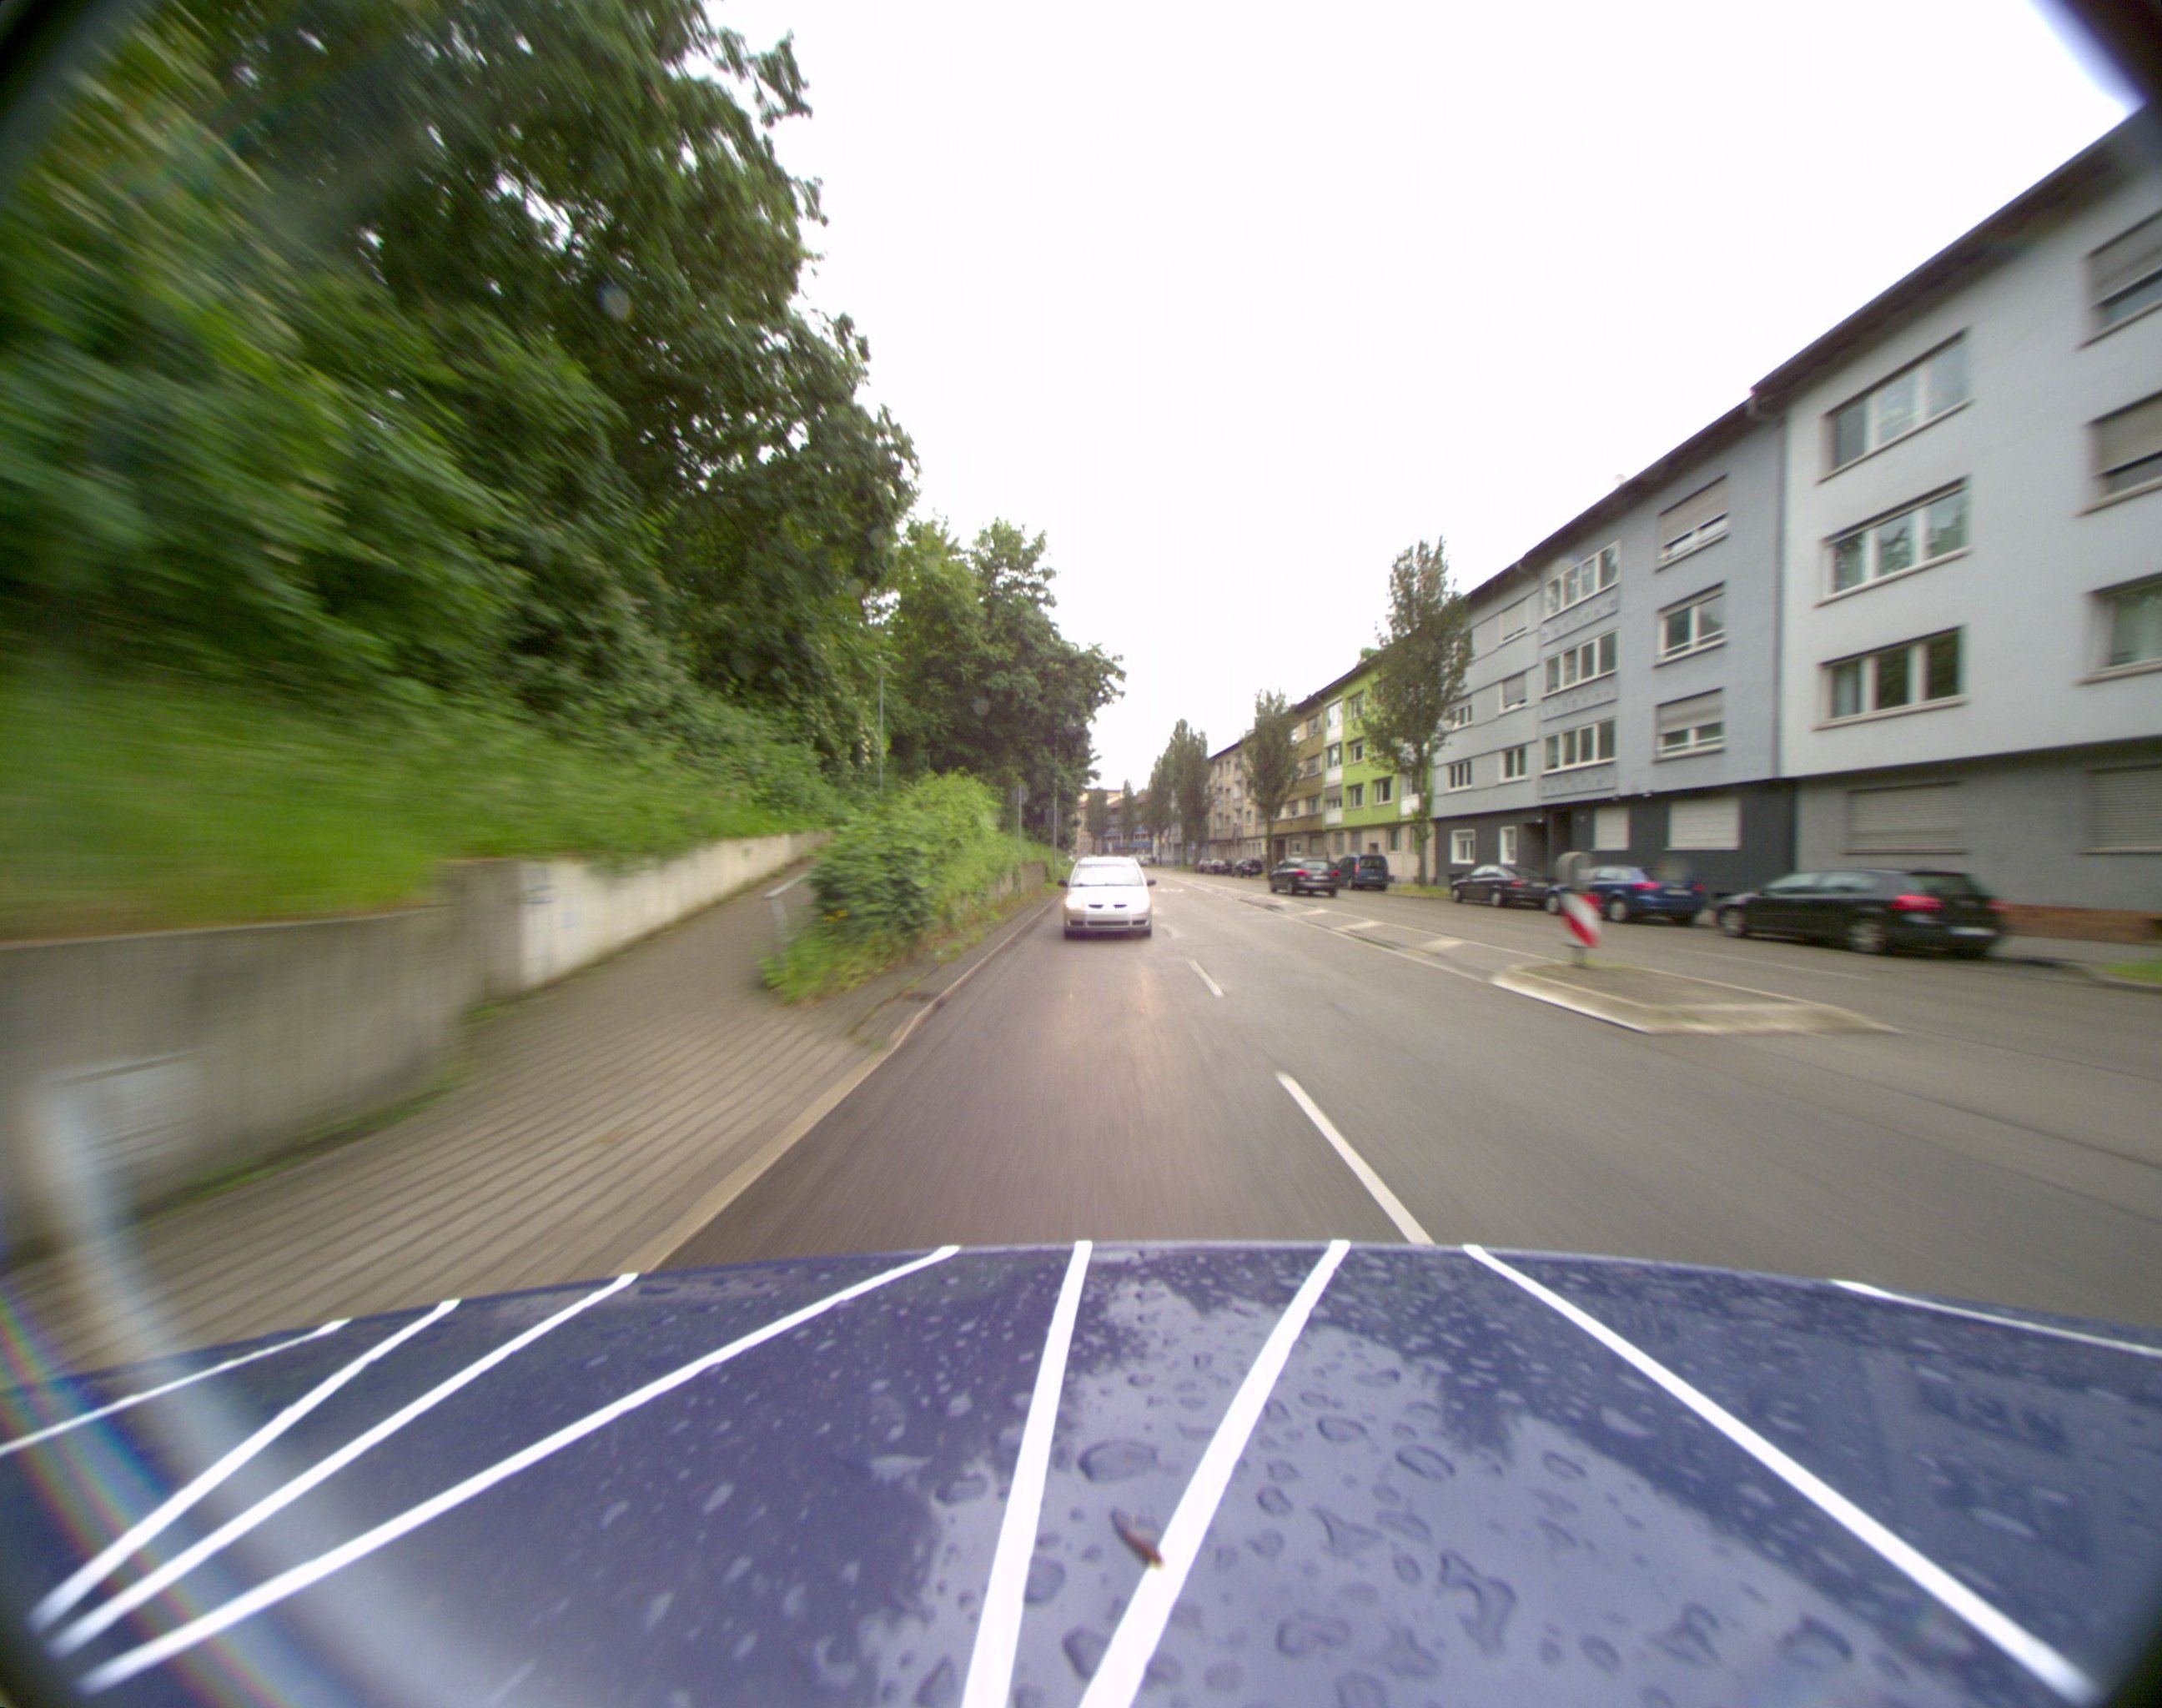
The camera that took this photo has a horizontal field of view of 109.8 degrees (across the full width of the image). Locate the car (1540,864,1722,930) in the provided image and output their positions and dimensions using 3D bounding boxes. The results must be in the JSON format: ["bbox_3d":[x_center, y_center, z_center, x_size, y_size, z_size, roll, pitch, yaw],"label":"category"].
[{"bbox_3d":[13.775,1.010,19.346,1.726,1.376,3.926,2,0,0],"label":"car"}]

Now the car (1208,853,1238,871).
[{"bbox_3d":[13.022,0.744,69.823,1.868,1.558,4.172,1,0,-1],"label":"car"}]

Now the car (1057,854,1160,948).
[{"bbox_3d":[0.680,0.849,15.667,1.754,1.586,4.170,-3,0,5],"label":"car"}]

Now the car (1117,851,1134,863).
[{"bbox_3d":[5.938,0.384,102.506,1.868,1.558,4.172,1,0,-2],"label":"car"}]

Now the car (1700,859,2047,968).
[{"bbox_3d":[13.772,0.918,13.668,1.851,1.536,4.247,-2,1,1],"label":"car"}]

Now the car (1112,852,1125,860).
[{"bbox_3d":[7.136,0.403,145.005,1.869,1.558,3.954,1,0,-6],"label":"car"}]

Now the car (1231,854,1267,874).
[{"bbox_3d":[13.399,0.793,60.877,1.868,1.504,3.999,1,0,-1],"label":"car"}]

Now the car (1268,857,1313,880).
[{"bbox_3d":[13.501,0.900,49.105,1.547,1.338,4.252,2,1,-2],"label":"car"}]

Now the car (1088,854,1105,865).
[{"bbox_3d":[2.150,0.772,107.333,1.999,1.455,3.998,1,0,-4],"label":"car"}]

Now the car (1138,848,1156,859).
[{"bbox_3d":[10.075,-0.089,116.180,1.869,1.558,4.171,1,0,-6],"label":"car"}]

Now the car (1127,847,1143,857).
[{"bbox_3d":[8.944,-0.345,126.991,1.869,1.558,4.170,1,0,-8],"label":"car"}]

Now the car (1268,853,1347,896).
[{"bbox_3d":[8.787,0.741,29.819,1.816,1.507,4.290,2,0,0],"label":"car"}]

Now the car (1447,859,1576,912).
[{"bbox_3d":[13.984,0.954,25.016,1.726,1.472,4.315,2,0,0],"label":"car"}]

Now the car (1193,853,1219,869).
[{"bbox_3d":[12.467,0.695,76.110,1.868,1.591,4.172,1,0,-1],"label":"car"}]

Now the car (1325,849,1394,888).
[{"bbox_3d":[14.002,0.664,38.458,1.905,1.859,4.315,0,1,0],"label":"car"}]
